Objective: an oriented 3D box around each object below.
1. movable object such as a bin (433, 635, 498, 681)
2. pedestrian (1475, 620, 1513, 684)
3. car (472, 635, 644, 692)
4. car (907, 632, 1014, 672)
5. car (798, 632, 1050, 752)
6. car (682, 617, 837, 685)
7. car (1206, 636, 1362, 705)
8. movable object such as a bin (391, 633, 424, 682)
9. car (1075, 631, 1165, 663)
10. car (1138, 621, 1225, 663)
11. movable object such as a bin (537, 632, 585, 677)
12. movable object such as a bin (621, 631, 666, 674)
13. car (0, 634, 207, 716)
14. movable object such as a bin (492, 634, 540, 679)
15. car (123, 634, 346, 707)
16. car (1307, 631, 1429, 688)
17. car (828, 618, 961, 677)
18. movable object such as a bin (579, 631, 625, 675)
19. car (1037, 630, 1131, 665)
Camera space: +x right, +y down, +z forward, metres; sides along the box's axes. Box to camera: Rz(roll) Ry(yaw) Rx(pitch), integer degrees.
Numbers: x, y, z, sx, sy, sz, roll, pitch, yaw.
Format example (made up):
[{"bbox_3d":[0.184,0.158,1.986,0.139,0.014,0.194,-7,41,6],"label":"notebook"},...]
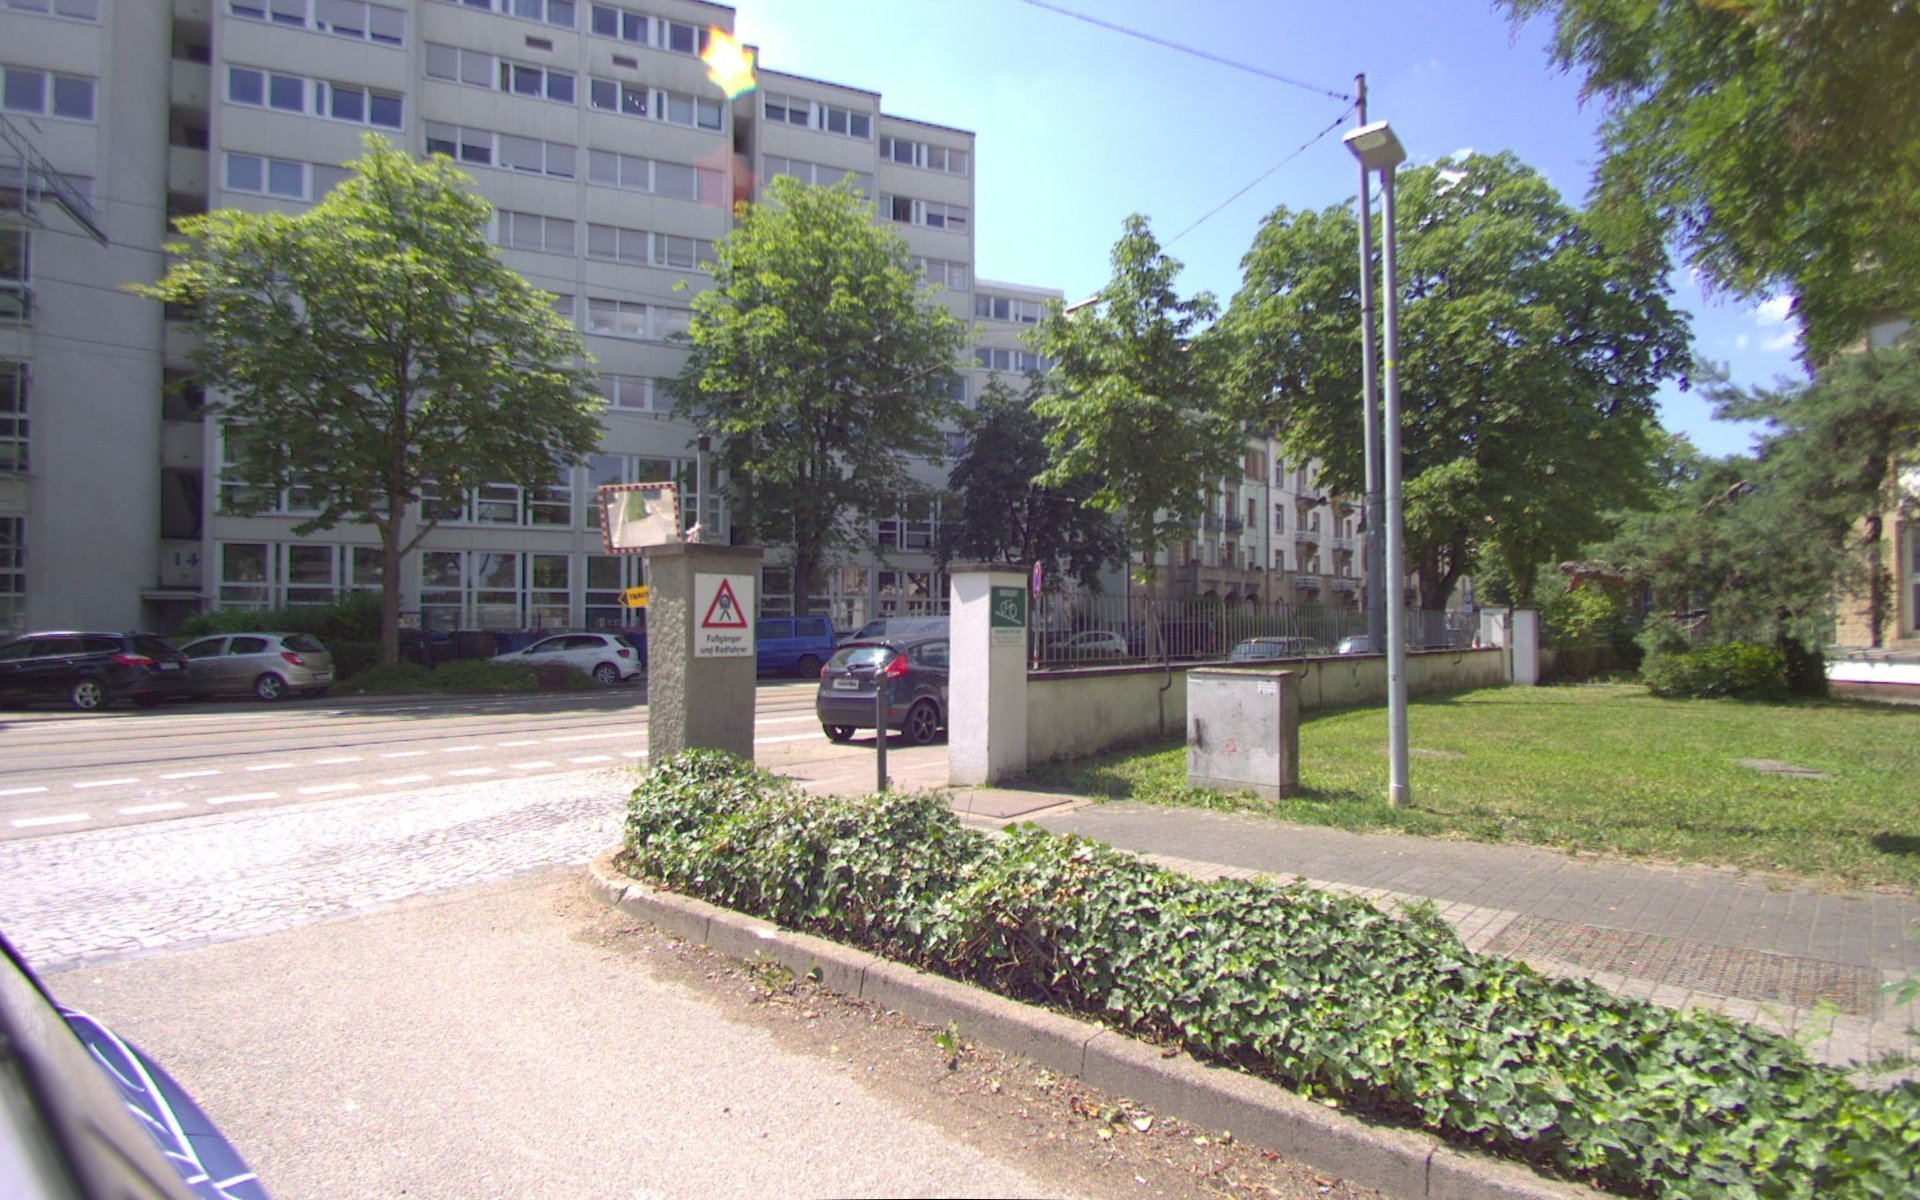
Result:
[{"bbox_3d":[-14.742,1.715,30.176,1.126,1.340,1.432,-3,-3,43],"label":"movable object such as a bin"},{"bbox_3d":[13.522,1.313,25.636,0.697,1.579,0.734,-2,-2,39],"label":"pedestrian"},{"bbox_3d":[-10.593,1.651,26.883,3.920,1.424,1.717,0,-2,-5],"label":"car"},{"bbox_3d":[0.051,1.998,38.997,3.952,1.497,1.667,-1,-2,7],"label":"car"},{"bbox_3d":[-0.392,1.231,14.411,1.586,1.468,3.679,-5,-4,37],"label":"car"},{"bbox_3d":[-6.211,1.567,31.740,4.561,2.029,2.002,0,-2,-4],"label":"car"},{"bbox_3d":[7.625,1.589,23.643,1.884,1.429,4.091,-3,-3,43],"label":"car"},{"bbox_3d":[-16.494,1.708,30.216,0.790,1.416,0.769,1,-3,-35],"label":"movable object such as a bin"},{"bbox_3d":[7.851,2.296,49.655,3.976,1.519,1.933,-1,-2,24],"label":"car"},{"bbox_3d":[11.196,2.125,51.212,3.976,2.029,1.984,-1,-2,24],"label":"car"},{"bbox_3d":[-12.862,1.741,32.608,1.163,1.409,1.039,1,-3,-41],"label":"movable object such as a bin"},{"bbox_3d":[-10.837,1.786,34.695,1.163,1.409,1.039,1,-3,-41],"label":"movable object such as a bin"},{"bbox_3d":[-17.284,1.417,19.505,4.133,1.481,1.756,0,-2,-5],"label":"car"},{"bbox_3d":[-13.768,1.745,31.389,0.971,1.340,1.062,-3,-3,43],"label":"movable object such as a bin"},{"bbox_3d":[-15.490,1.476,21.770,3.486,1.473,1.756,0,-2,-5],"label":"car"},{"bbox_3d":[11.508,1.636,28.452,1.952,1.455,3.719,-3,-3,43],"label":"car"},{"bbox_3d":[-2.295,1.714,36.432,4.570,2.029,1.998,-1,-2,4],"label":"car"},{"bbox_3d":[-11.890,1.763,33.614,1.163,1.409,1.039,1,-3,-41],"label":"movable object such as a bin"},{"bbox_3d":[5.687,2.194,46.624,3.939,1.397,1.753,2,0,-5],"label":"car"}]
